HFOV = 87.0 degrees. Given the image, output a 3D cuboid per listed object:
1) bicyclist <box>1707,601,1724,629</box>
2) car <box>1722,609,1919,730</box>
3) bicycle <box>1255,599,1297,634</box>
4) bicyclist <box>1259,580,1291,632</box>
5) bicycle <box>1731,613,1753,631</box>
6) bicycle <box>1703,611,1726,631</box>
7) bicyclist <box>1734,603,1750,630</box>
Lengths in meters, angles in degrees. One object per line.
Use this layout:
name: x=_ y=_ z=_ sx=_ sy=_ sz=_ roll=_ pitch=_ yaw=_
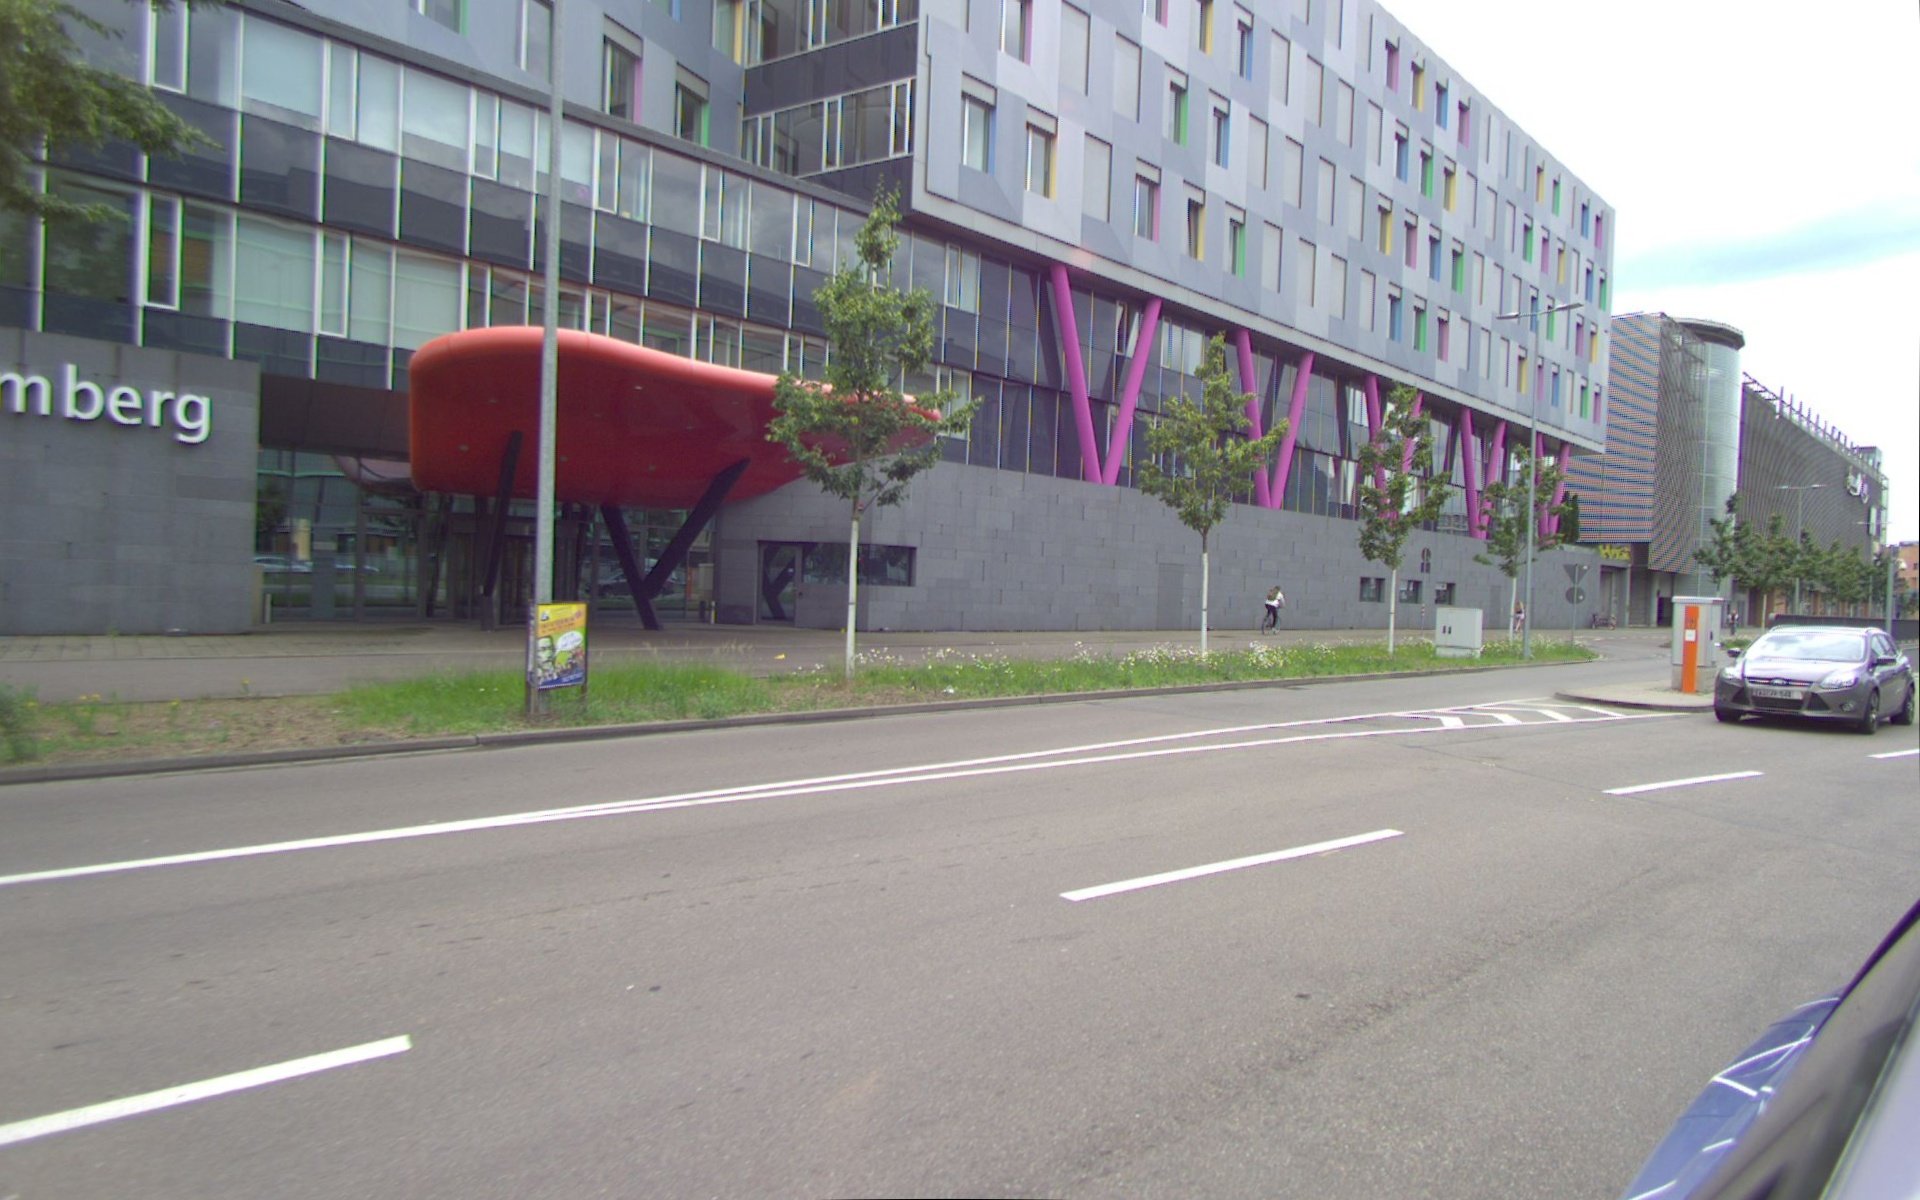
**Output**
bicyclist: x=51.635 y=1.011 z=69.175 sx=0.692 sy=1.826 sz=0.783 roll=7 pitch=-4 yaw=-41
car: x=13.177 y=0.983 z=15.254 sx=4.191 sy=1.518 sz=1.752 roll=3 pitch=0 yaw=-40
bicycle: x=11.537 y=0.608 z=36.906 sx=0.780 sy=1.209 sz=2.193 roll=3 pitch=1 yaw=34
bicyclist: x=11.417 y=0.214 z=36.692 sx=0.768 sy=1.809 sz=0.962 roll=3 pitch=0 yaw=35
bicycle: x=54.617 y=1.562 z=70.709 sx=2.304 sy=1.173 sz=0.800 roll=3 pitch=-1 yaw=-42
bicycle: x=51.537 y=1.462 z=69.101 sx=2.303 sy=1.173 sz=0.800 roll=7 pitch=-4 yaw=-42
bicyclist: x=54.640 y=1.144 z=70.713 sx=0.692 sy=1.825 sz=0.783 roll=3 pitch=-1 yaw=-41
